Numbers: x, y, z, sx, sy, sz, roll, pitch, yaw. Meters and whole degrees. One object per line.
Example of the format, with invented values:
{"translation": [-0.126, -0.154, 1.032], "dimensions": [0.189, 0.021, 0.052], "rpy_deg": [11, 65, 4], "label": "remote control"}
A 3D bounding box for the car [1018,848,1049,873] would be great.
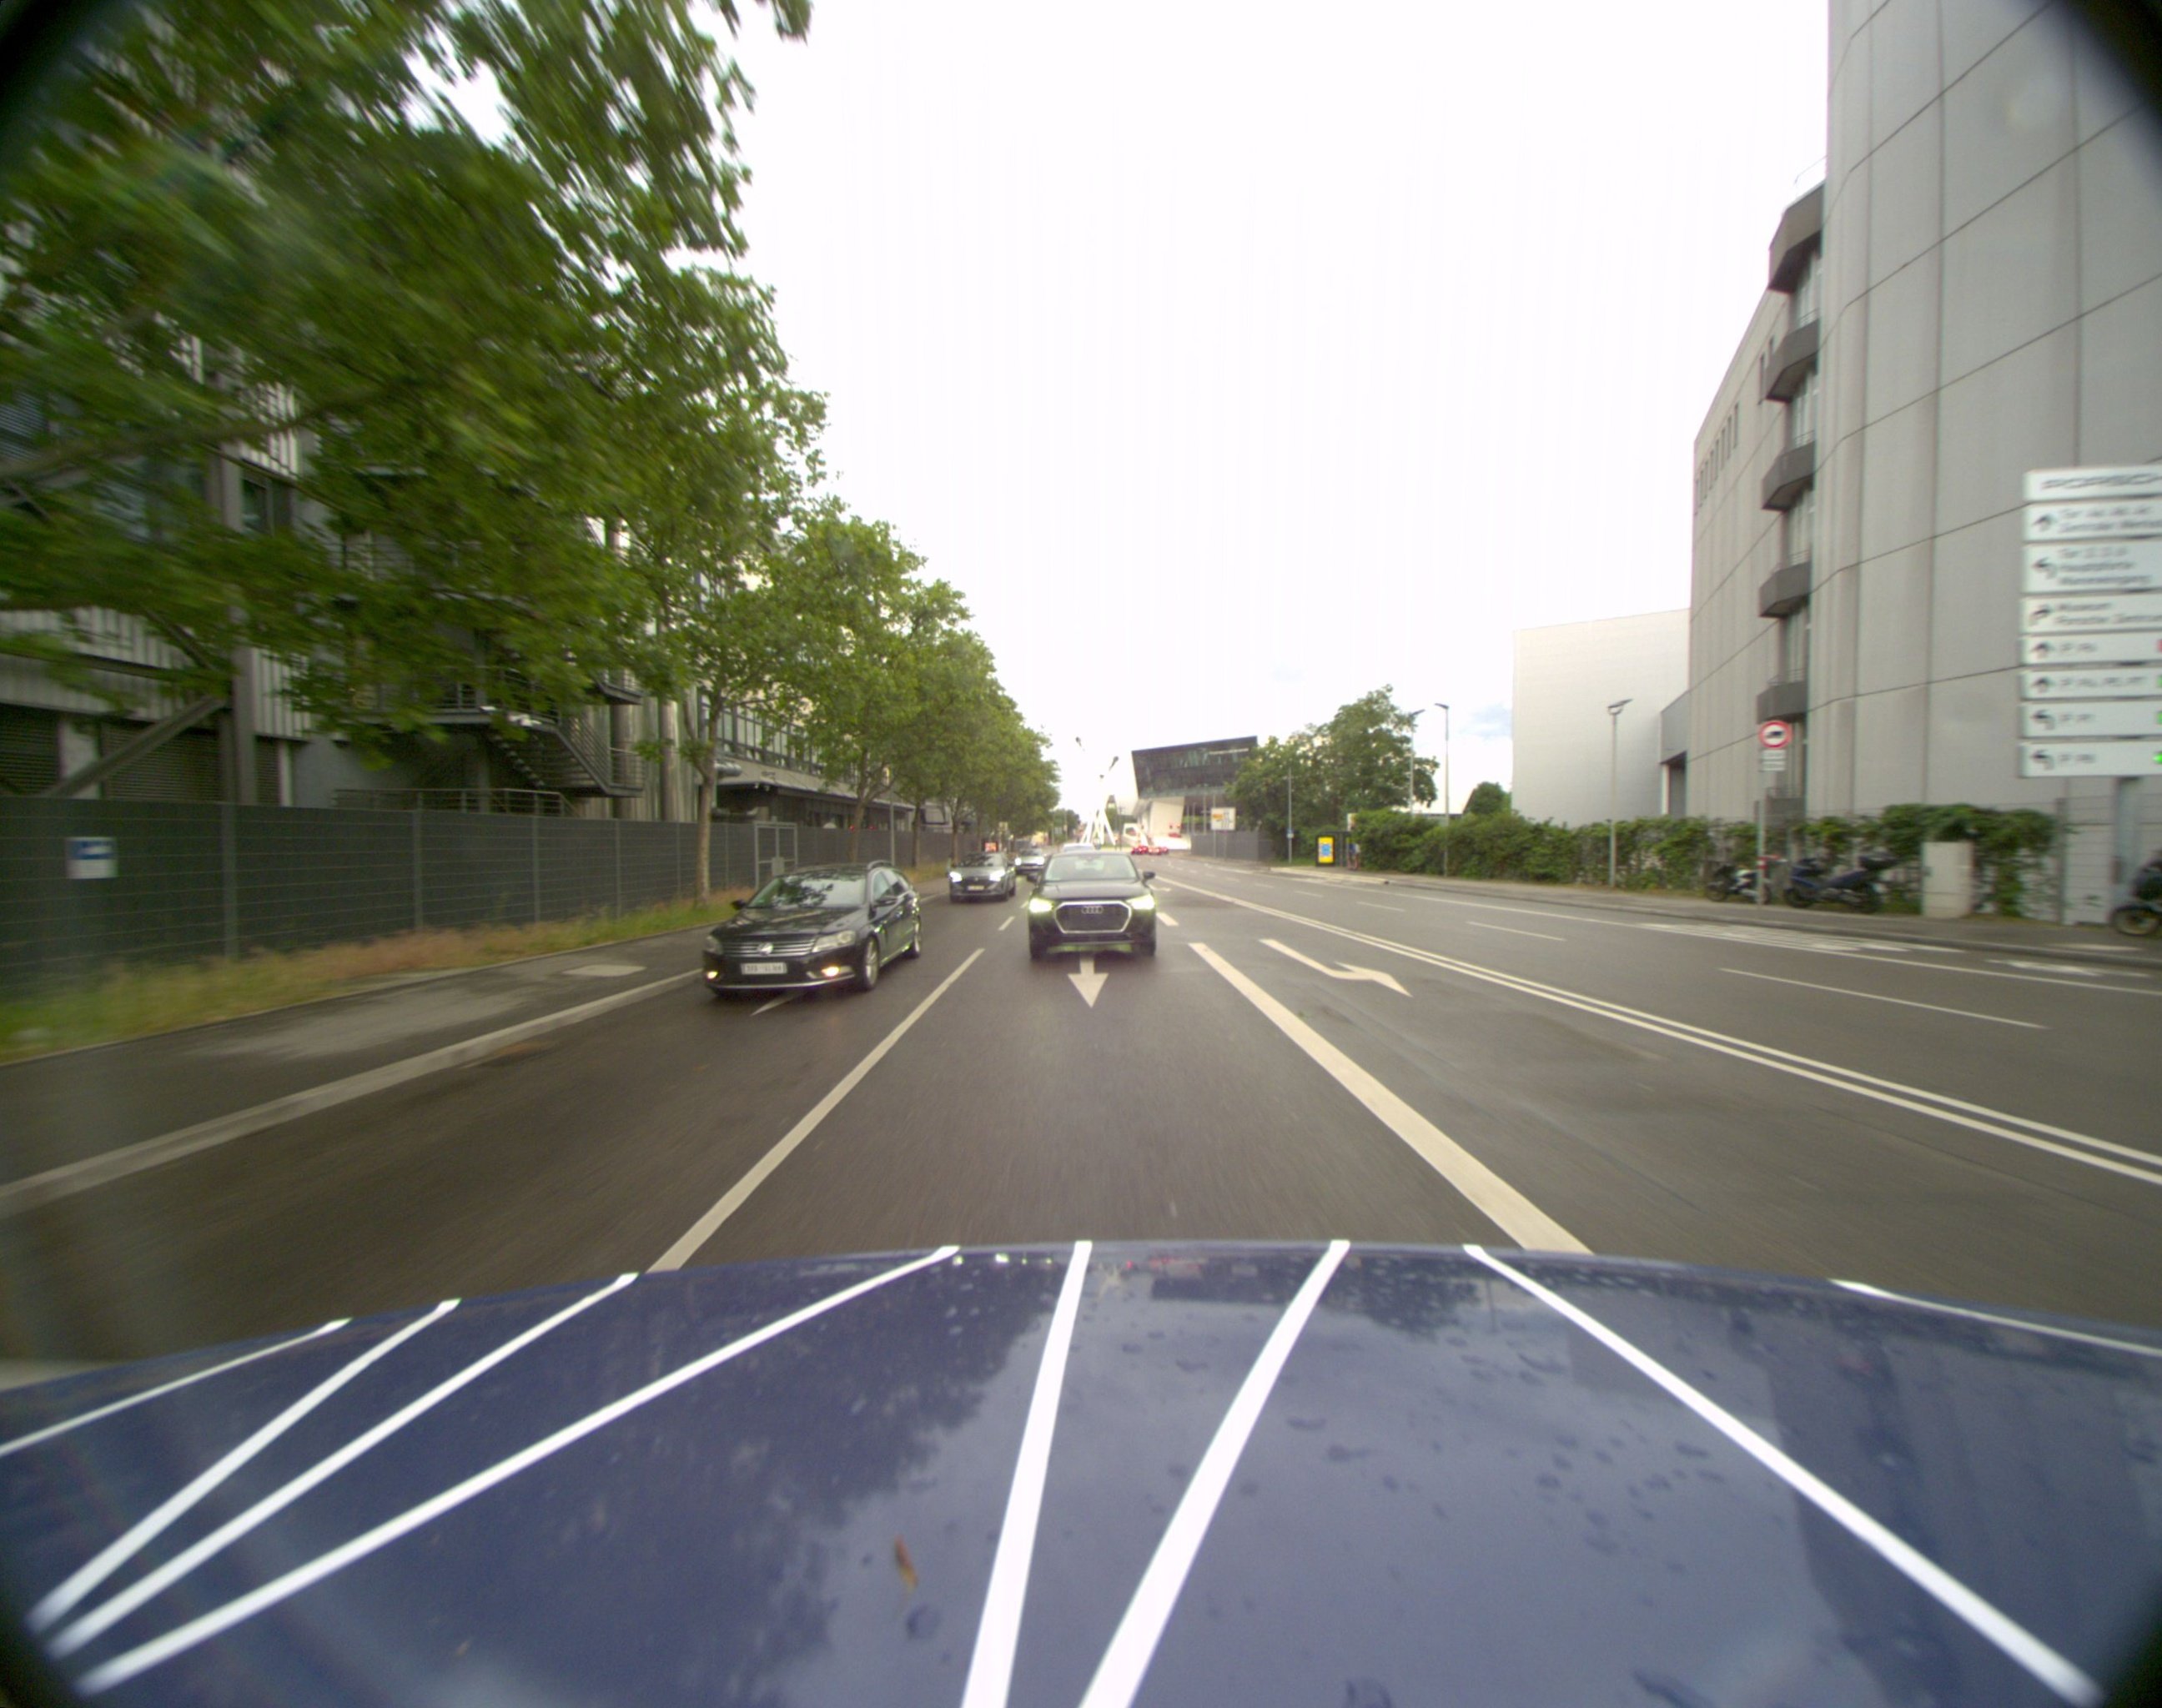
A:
{"translation": [-3.146, 0.383, 50.755], "dimensions": [1.820, 1.571, 4.331], "rpy_deg": [-1, 1, 0], "label": "car"}

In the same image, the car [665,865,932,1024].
{"translation": [-3.249, 0.930, 9.830], "dimensions": [1.749, 1.422, 4.516], "rpy_deg": [-1, 1, 0], "label": "car"}

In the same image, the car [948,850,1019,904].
{"translation": [-3.151, 0.700, 25.370], "dimensions": [1.825, 1.581, 4.331], "rpy_deg": [-1, 1, 0], "label": "car"}

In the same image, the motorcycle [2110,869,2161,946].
{"translation": [16.748, 0.827, 11.108], "dimensions": [0.569, 1.156, 2.038], "rpy_deg": [0, 1, -1], "label": "motorcycle"}

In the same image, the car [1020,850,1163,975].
{"translation": [0.125, 0.739, 12.618], "dimensions": [1.820, 1.536, 5.607], "rpy_deg": [-1, 1, 0], "label": "car"}

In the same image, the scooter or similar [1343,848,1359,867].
{"translation": [16.321, 0.209, 46.009], "dimensions": [0.394, 1.123, 1.568], "rpy_deg": [1, 1, 1], "label": "scooter or similar"}

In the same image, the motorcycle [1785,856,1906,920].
{"translation": [16.616, 0.691, 16.598], "dimensions": [0.626, 1.260, 2.171], "rpy_deg": [-1, 1, 6], "label": "motorcycle"}

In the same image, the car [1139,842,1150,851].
{"translation": [11.485, -1.385, 137.315], "dimensions": [1.776, 1.580, 4.485], "rpy_deg": [1, 1, 1], "label": "car"}

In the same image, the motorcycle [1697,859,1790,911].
{"translation": [16.692, 0.741, 19.214], "dimensions": [0.626, 1.208, 1.967], "rpy_deg": [1, 1, 1], "label": "motorcycle"}

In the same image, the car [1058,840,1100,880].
{"translation": [-0.122, 0.275, 39.295], "dimensions": [2.035, 1.920, 4.331], "rpy_deg": [-1, 1, 0], "label": "car"}

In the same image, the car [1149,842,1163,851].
{"translation": [12.663, -1.302, 128.838], "dimensions": [2.036, 1.580, 4.485], "rpy_deg": [1, 1, 1], "label": "car"}

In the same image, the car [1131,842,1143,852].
{"translation": [9.577, -1.239, 130.763], "dimensions": [1.776, 1.580, 4.485], "rpy_deg": [1, 1, 1], "label": "car"}

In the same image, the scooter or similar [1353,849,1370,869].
{"translation": [16.335, 0.283, 44.324], "dimensions": [0.394, 1.123, 1.568], "rpy_deg": [1, 1, 1], "label": "scooter or similar"}

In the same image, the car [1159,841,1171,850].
{"translation": [15.057, -1.501, 135.802], "dimensions": [1.776, 1.580, 4.485], "rpy_deg": [1, 1, 1], "label": "car"}
